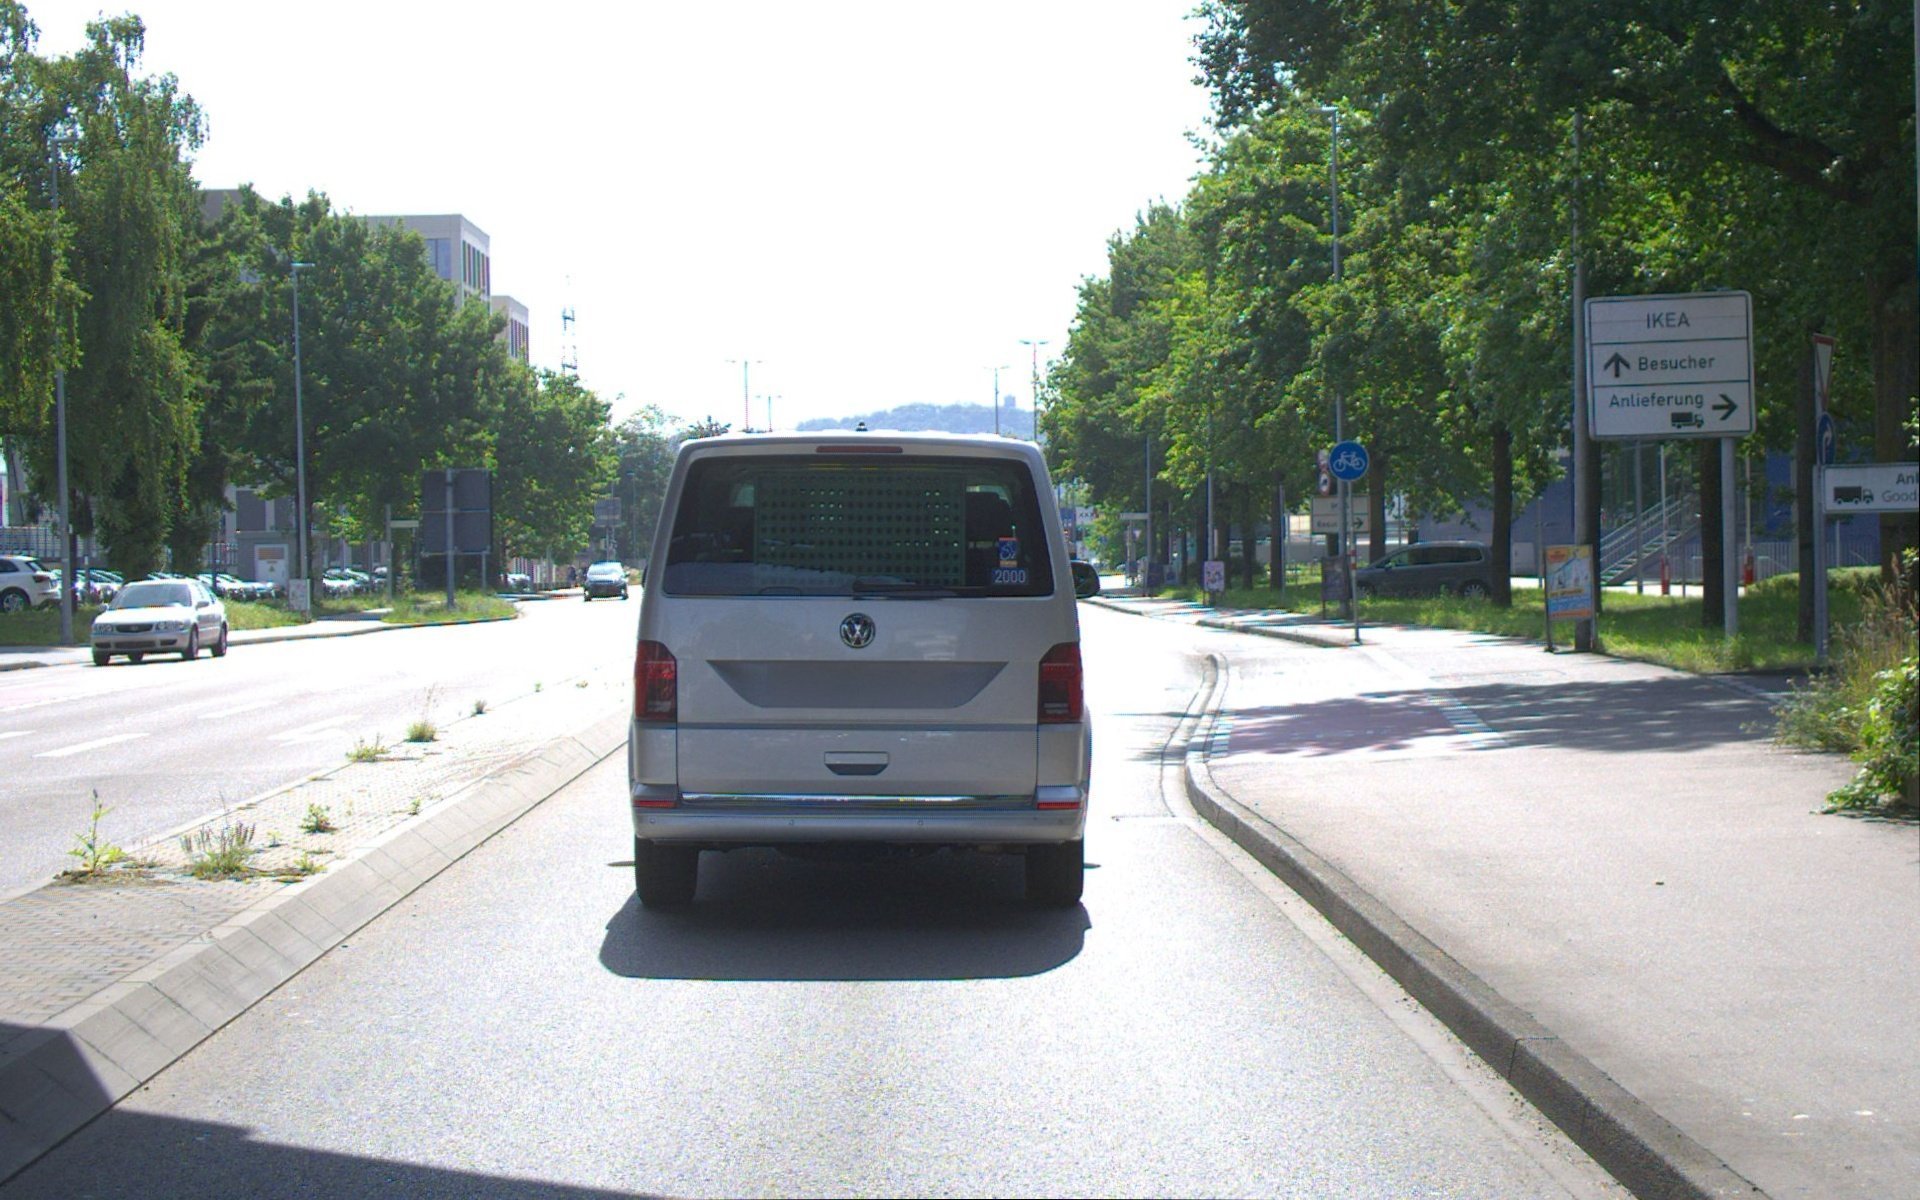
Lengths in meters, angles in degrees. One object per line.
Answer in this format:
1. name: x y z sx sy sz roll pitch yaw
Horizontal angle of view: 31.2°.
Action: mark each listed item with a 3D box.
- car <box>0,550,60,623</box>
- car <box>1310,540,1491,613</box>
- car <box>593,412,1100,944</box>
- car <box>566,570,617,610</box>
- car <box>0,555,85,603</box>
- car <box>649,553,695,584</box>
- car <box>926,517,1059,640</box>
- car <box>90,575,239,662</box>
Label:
1. car: -25.935 -0.391 89.568 4.463 1.869 2.000 1 0 0
2. car: 11.123 -0.597 87.100 4.445 1.688 1.844 -2 0 6
3. car: -0.486 0.275 14.973 1.884 1.983 4.000 1 1 -2
4. car: -14.863 -0.424 138.831 1.697 1.514 4.027 -2 1 -2
5. car: -25.984 -0.589 93.844 3.790 1.281 1.745 1 1 -3
6. car: -15.908 -1.748 190.255 1.994 1.612 4.104 -2 0 2
7. car: 0.501 -0.368 58.182 1.967 1.961 5.126 1 1 -2
8. car: -13.753 0.292 59.650 1.635 1.383 4.319 -2 1 -1
